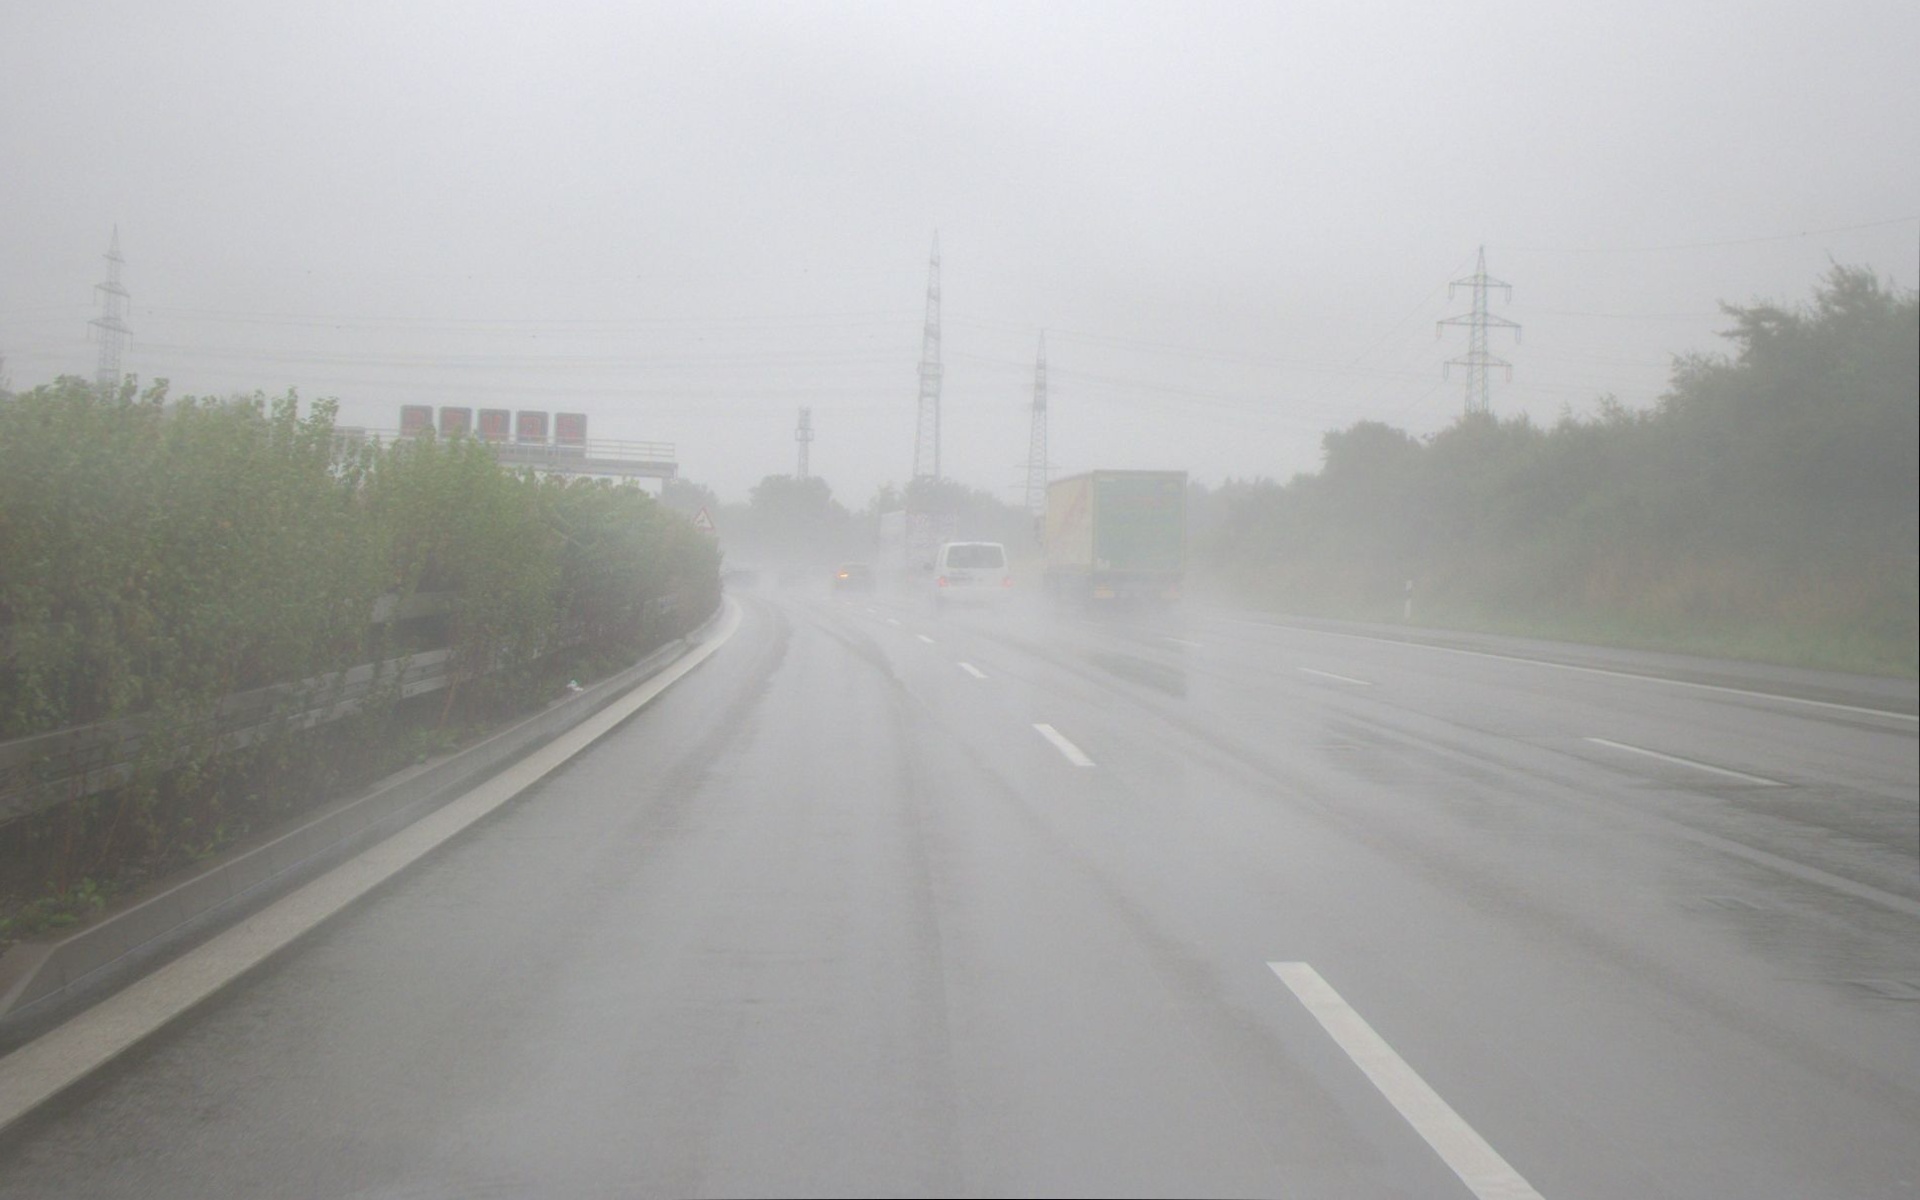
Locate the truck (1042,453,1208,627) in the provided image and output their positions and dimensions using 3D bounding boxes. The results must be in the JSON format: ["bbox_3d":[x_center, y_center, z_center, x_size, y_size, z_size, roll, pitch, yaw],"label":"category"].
[{"bbox_3d":[4.598,-1.677,100.016,4.189,4.614,16.105,1,0,1],"label":"truck"}]

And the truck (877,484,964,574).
[{"bbox_3d":[-2.001,-3.471,169.463,3.232,4.296,8.839,0,1,-8],"label":"truck"}]

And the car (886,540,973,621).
[{"bbox_3d":[-0.806,-0.518,88.449,1.993,2.007,4.001,0,1,-4],"label":"car"}]
